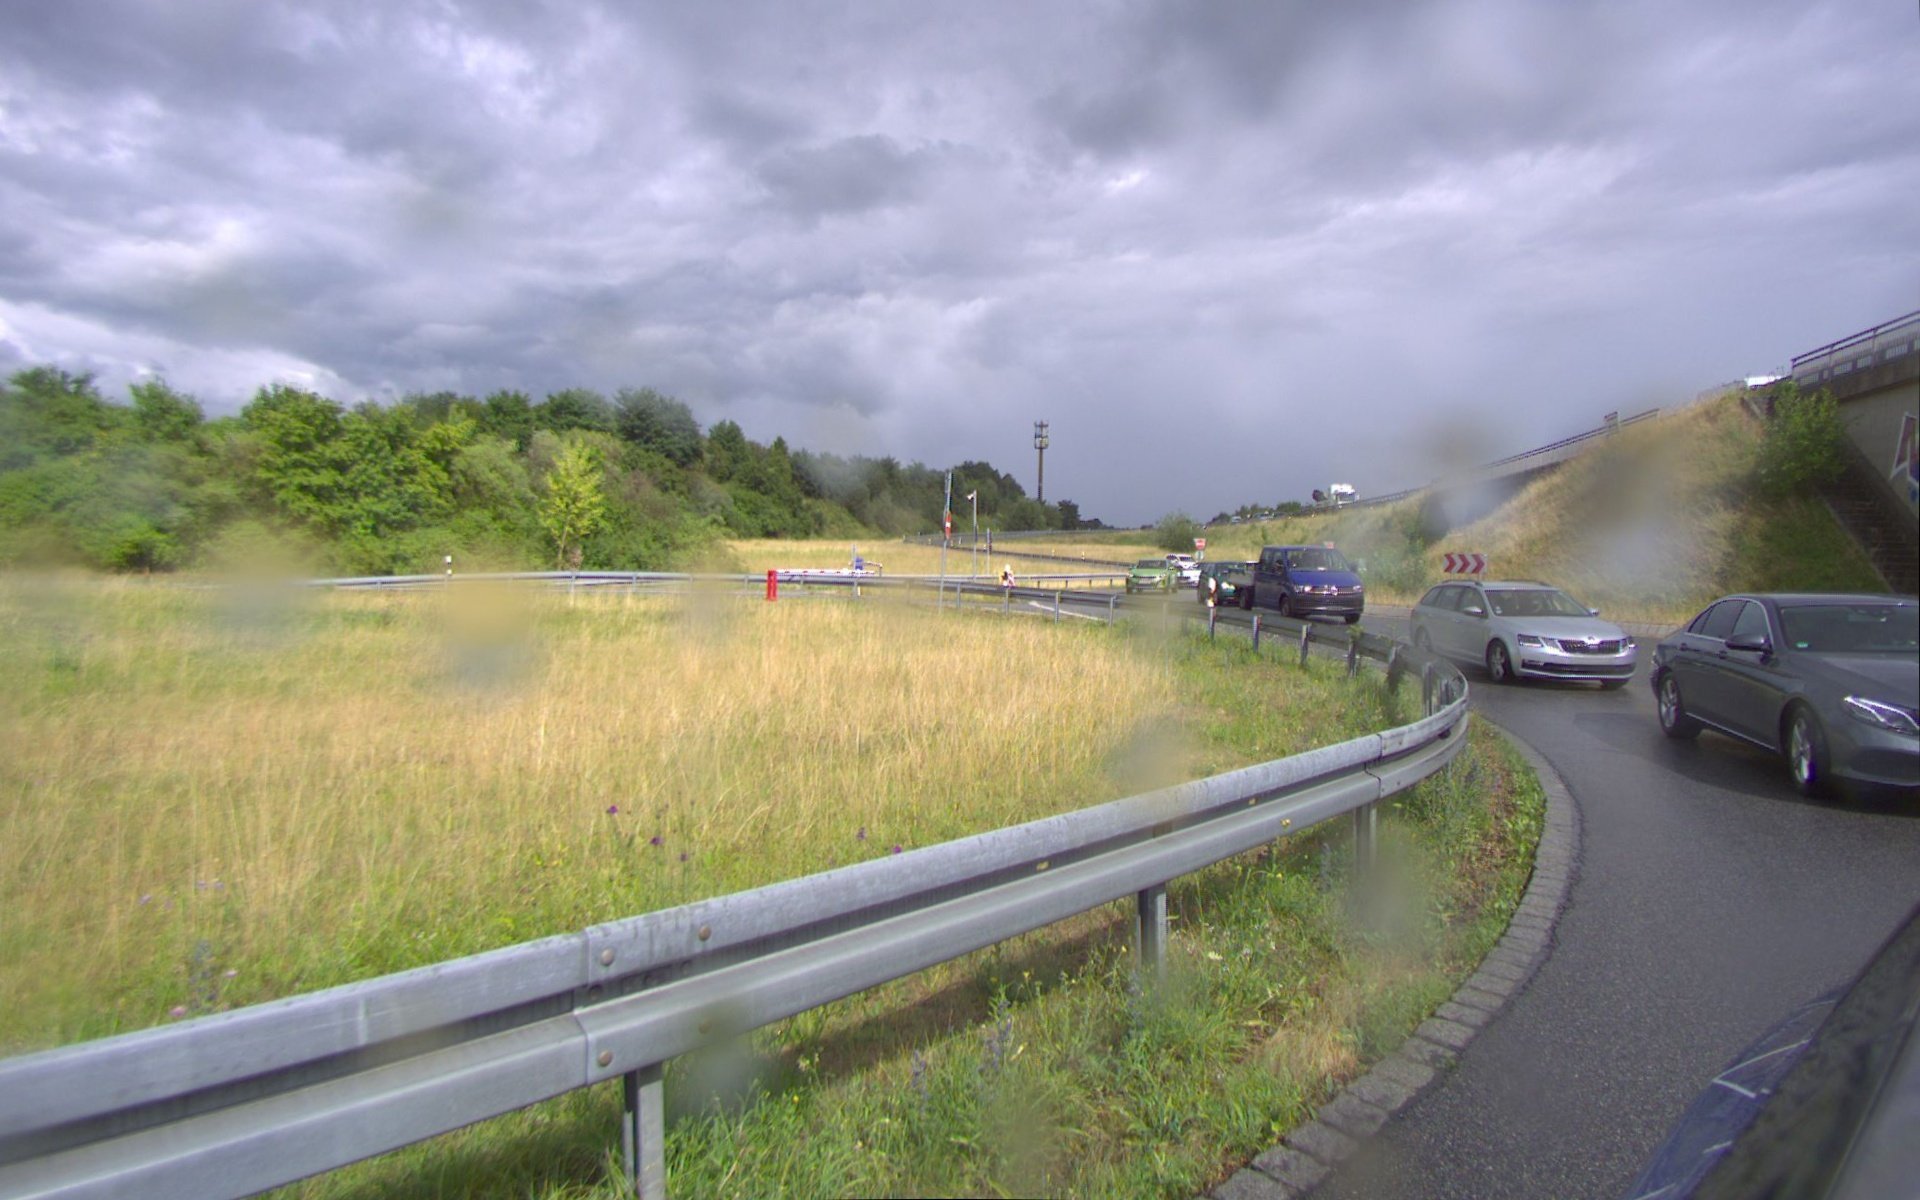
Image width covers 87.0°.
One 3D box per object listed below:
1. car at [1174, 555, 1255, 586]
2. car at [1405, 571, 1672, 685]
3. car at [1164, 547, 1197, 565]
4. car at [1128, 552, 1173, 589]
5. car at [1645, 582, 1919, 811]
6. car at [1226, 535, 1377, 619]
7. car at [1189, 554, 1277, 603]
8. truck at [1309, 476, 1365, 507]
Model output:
[{"bbox_3d":[13.001,-1.519,51.679,3.849,1.492,1.622,0,3,-26],"label":"car"},{"bbox_3d":[8.667,0.310,15.668,1.765,1.415,4.348,-1,3,2],"label":"car"},{"bbox_3d":[16.994,-3.400,78.048,1.679,1.305,3.776,1,3,0],"label":"car"},{"bbox_3d":[8.164,-1.292,43.114,1.595,1.492,3.830,1,3,15],"label":"car"},{"bbox_3d":[7.404,0.583,8.308,1.749,1.408,4.564,1,2,19],"label":"car"},{"bbox_3d":[8.920,-0.734,27.069,1.857,1.937,5.690,1,4,-2],"label":"car"},{"bbox_3d":[8.940,-0.754,33.419,1.625,1.492,3.851,1,3,-3],"label":"car"},{"bbox_3d":[46.346,-13.336,124.877,3.099,3.232,9.290,-1,3,-2],"label":"truck"}]
